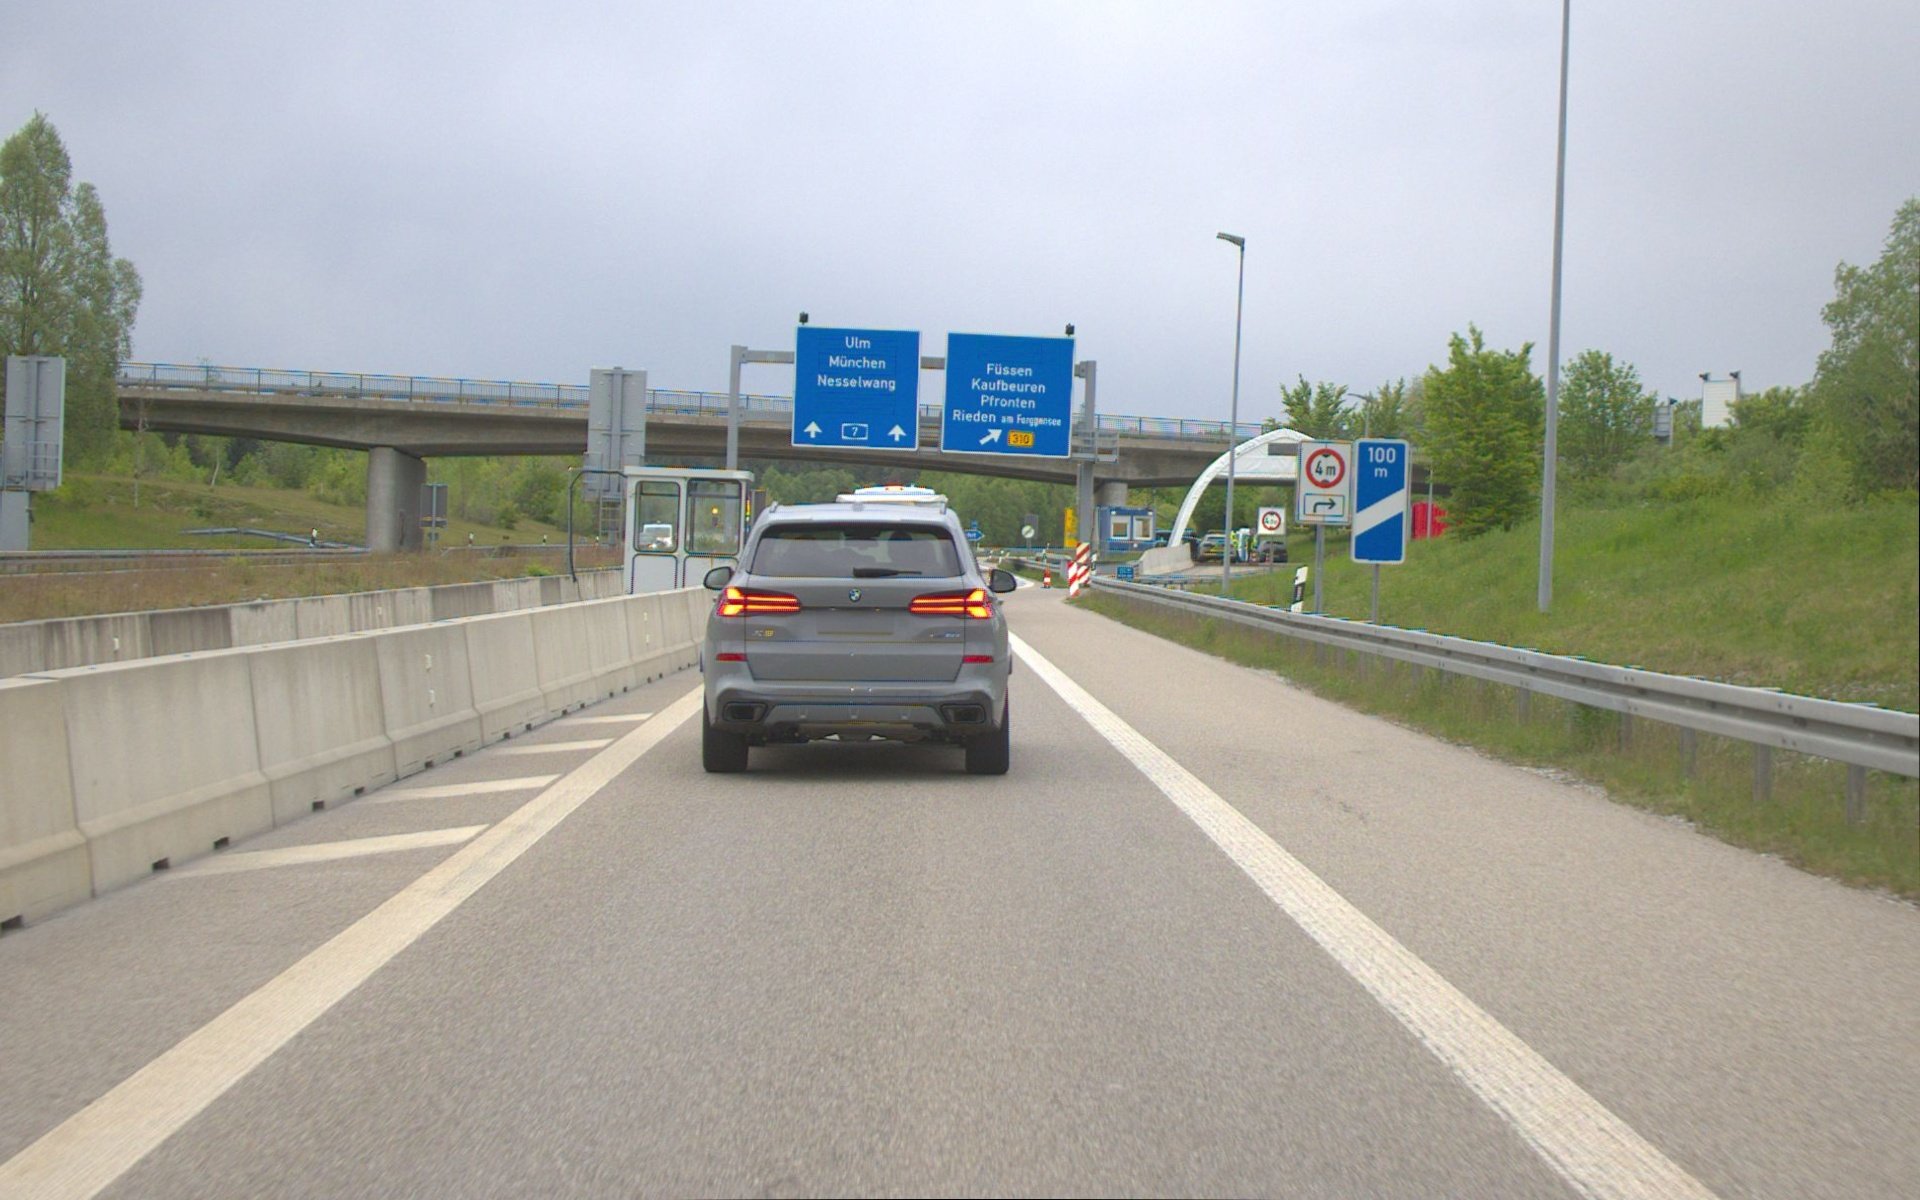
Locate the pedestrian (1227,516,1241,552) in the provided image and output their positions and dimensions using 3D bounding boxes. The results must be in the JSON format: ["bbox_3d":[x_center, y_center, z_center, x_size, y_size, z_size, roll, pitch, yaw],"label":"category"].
[{"bbox_3d":[14.534,-3.502,182.286,0.720,1.939,0.690,0,1,4],"label":"pedestrian"}]

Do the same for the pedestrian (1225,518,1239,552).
[{"bbox_3d":[14.344,-3.425,181.193,0.720,1.769,0.690,0,1,4],"label":"pedestrian"}]

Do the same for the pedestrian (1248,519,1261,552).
[{"bbox_3d":[15.593,-3.411,182.223,0.648,1.769,0.606,0,1,2],"label":"pedestrian"}]

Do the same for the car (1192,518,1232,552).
[{"bbox_3d":[13.132,-3.394,178.983,1.994,1.766,3.765,0,1,3],"label":"car"}]

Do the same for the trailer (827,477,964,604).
[{"bbox_3d":[-1.239,-1.184,69.626,2.279,2.422,6.817,1,1,3],"label":"trailer"}]

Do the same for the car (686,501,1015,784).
[{"bbox_3d":[-0.696,0.227,23.125,1.993,1.713,4.000,1,1,-1],"label":"car"}]

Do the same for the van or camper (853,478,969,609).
[{"bbox_3d":[-1.030,-1.237,75.959,2.157,2.754,5.871,1,1,3],"label":"van or camper"}]
